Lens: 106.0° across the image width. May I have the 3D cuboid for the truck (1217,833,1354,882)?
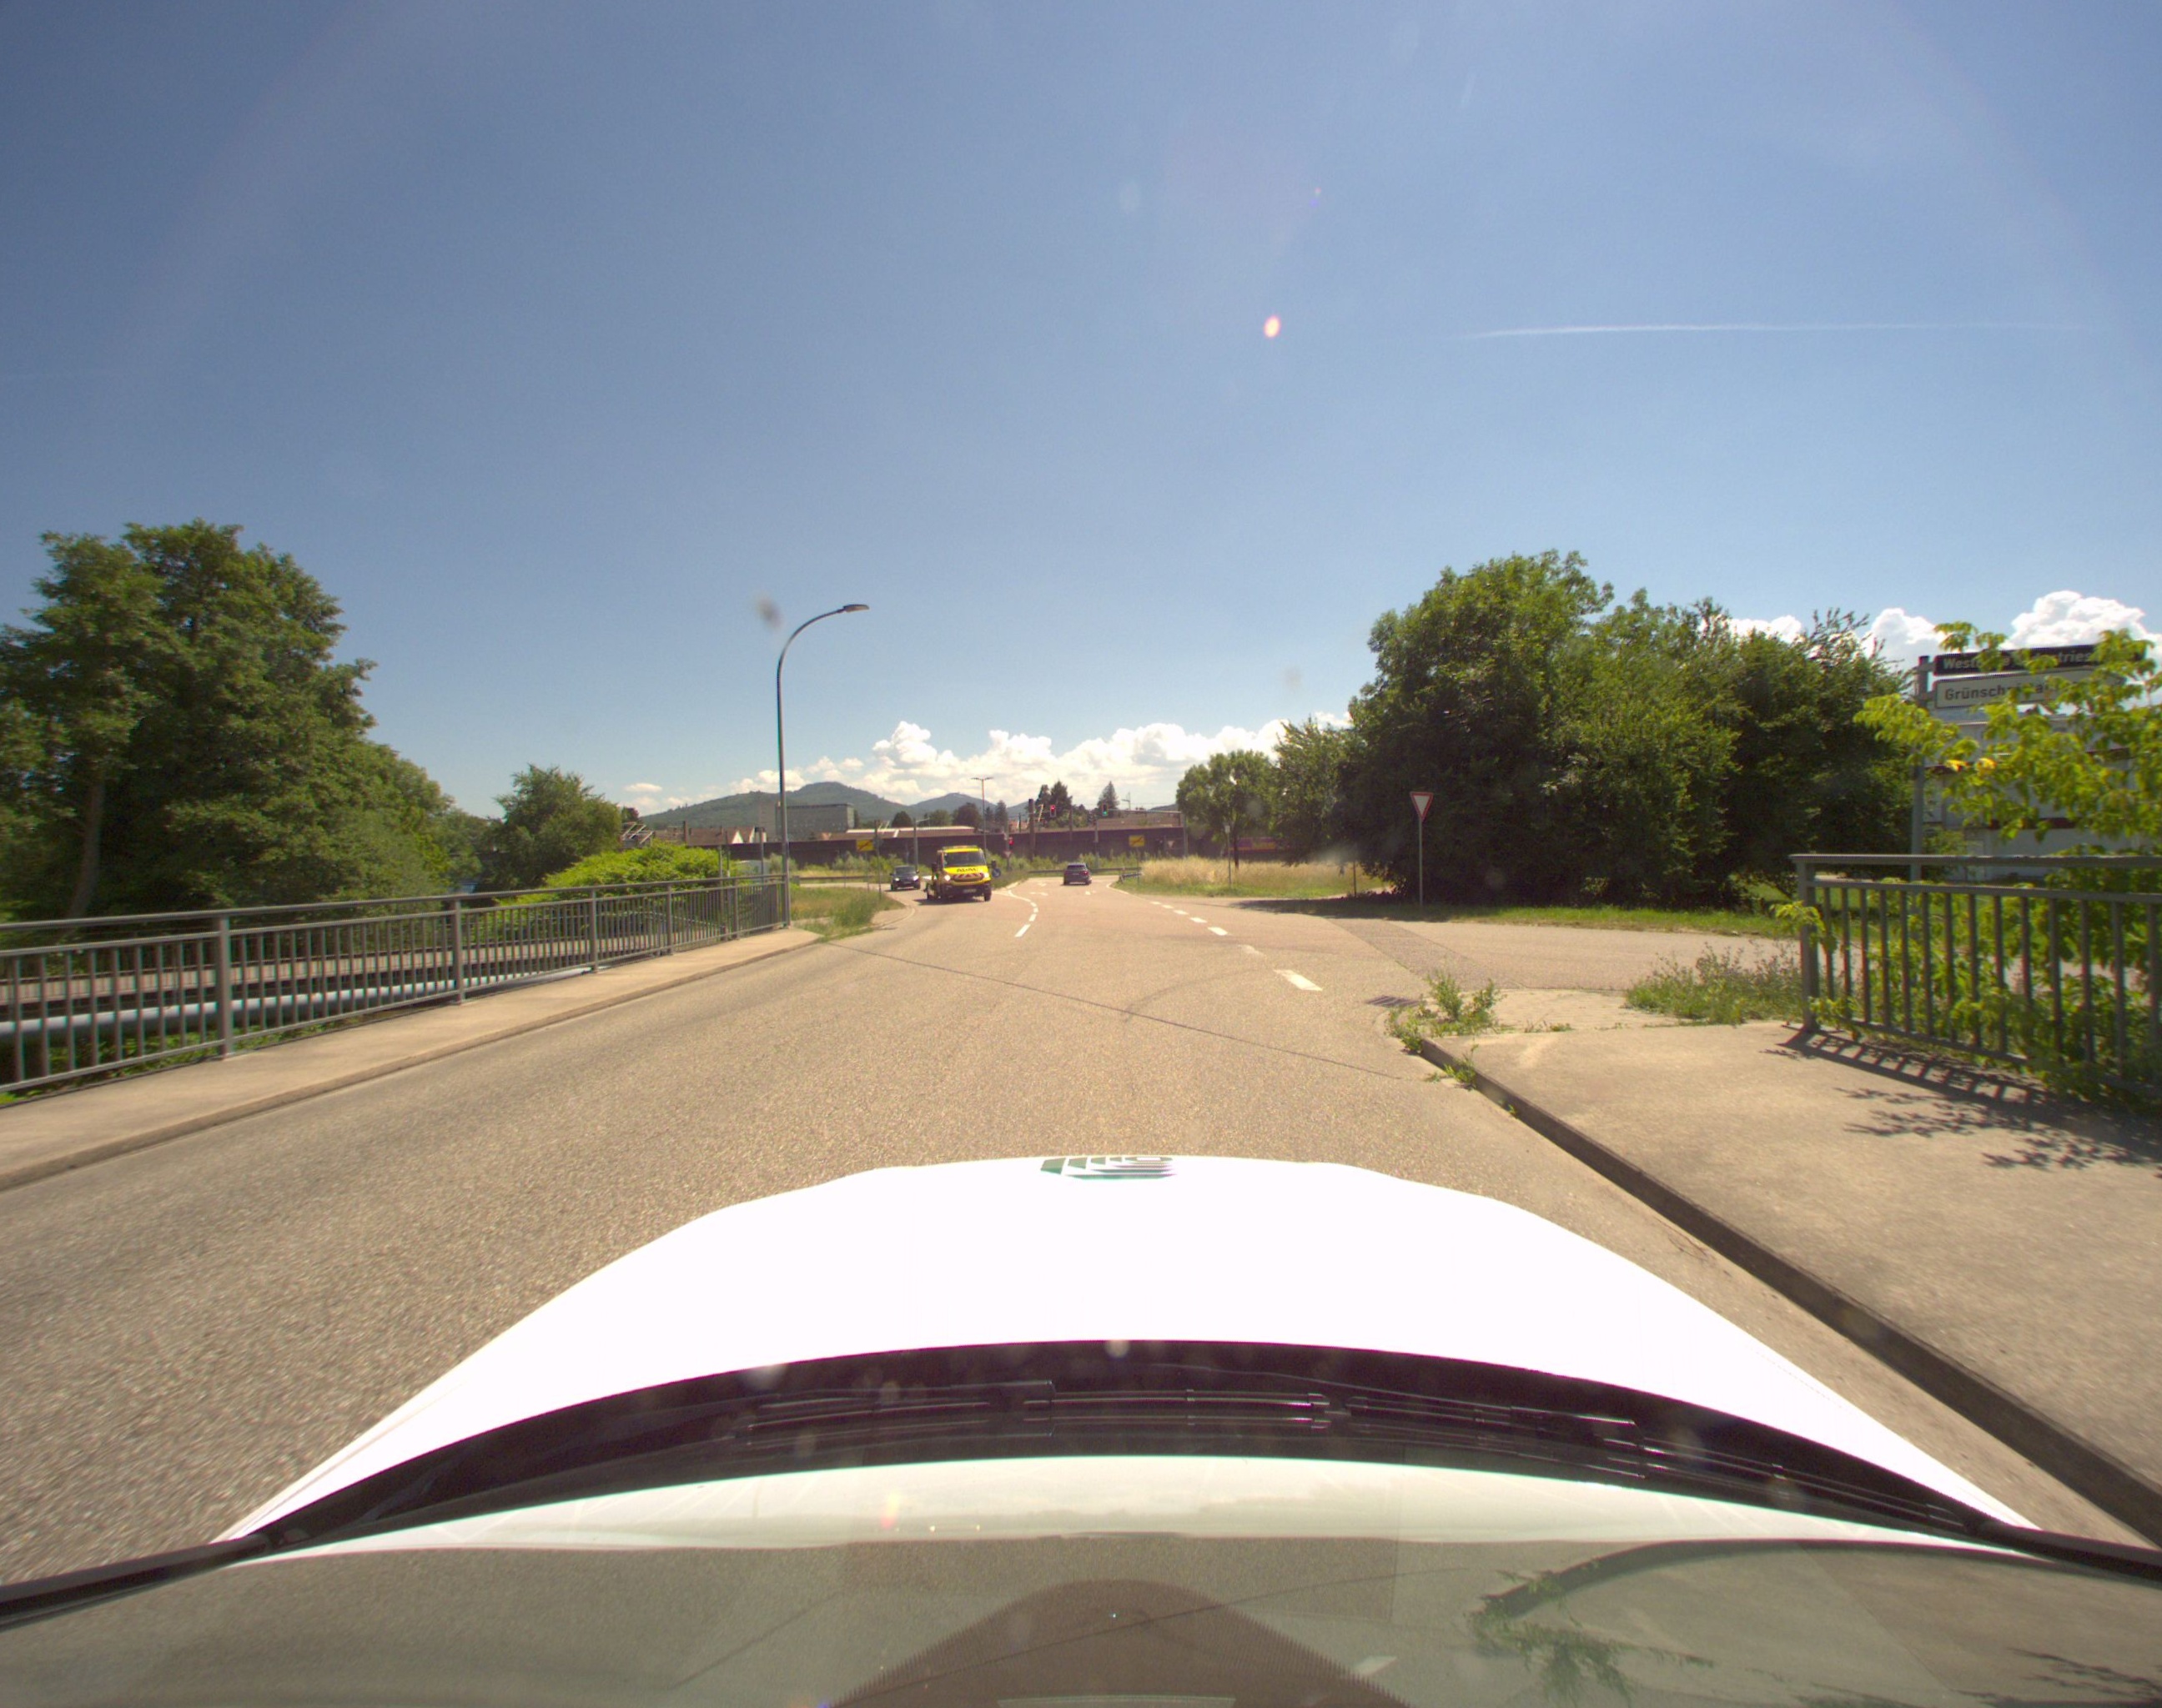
[{"bbox_3d":[18.539,0.333,74.364,11.718,4.180,3.008,-1,-1,3],"label":"truck"}]

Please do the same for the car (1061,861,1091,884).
[{"bbox_3d":[-0.323,1.314,58.205,1.987,1.503,4.001,0,0,1],"label":"car"}]

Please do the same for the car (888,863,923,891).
[{"bbox_3d":[-11.928,1.527,55.169,1.907,1.702,3.977,-3,1,-17],"label":"car"}]

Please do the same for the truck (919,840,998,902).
[{"bbox_3d":[-5.701,0.805,36.597,2.316,2.337,9.001,-3,-1,-16],"label":"truck"}]

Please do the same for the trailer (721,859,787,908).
[{"bbox_3d":[-14.519,1.289,36.040,1.864,2.014,3.916,0,-1,-35],"label":"trailer"}]
